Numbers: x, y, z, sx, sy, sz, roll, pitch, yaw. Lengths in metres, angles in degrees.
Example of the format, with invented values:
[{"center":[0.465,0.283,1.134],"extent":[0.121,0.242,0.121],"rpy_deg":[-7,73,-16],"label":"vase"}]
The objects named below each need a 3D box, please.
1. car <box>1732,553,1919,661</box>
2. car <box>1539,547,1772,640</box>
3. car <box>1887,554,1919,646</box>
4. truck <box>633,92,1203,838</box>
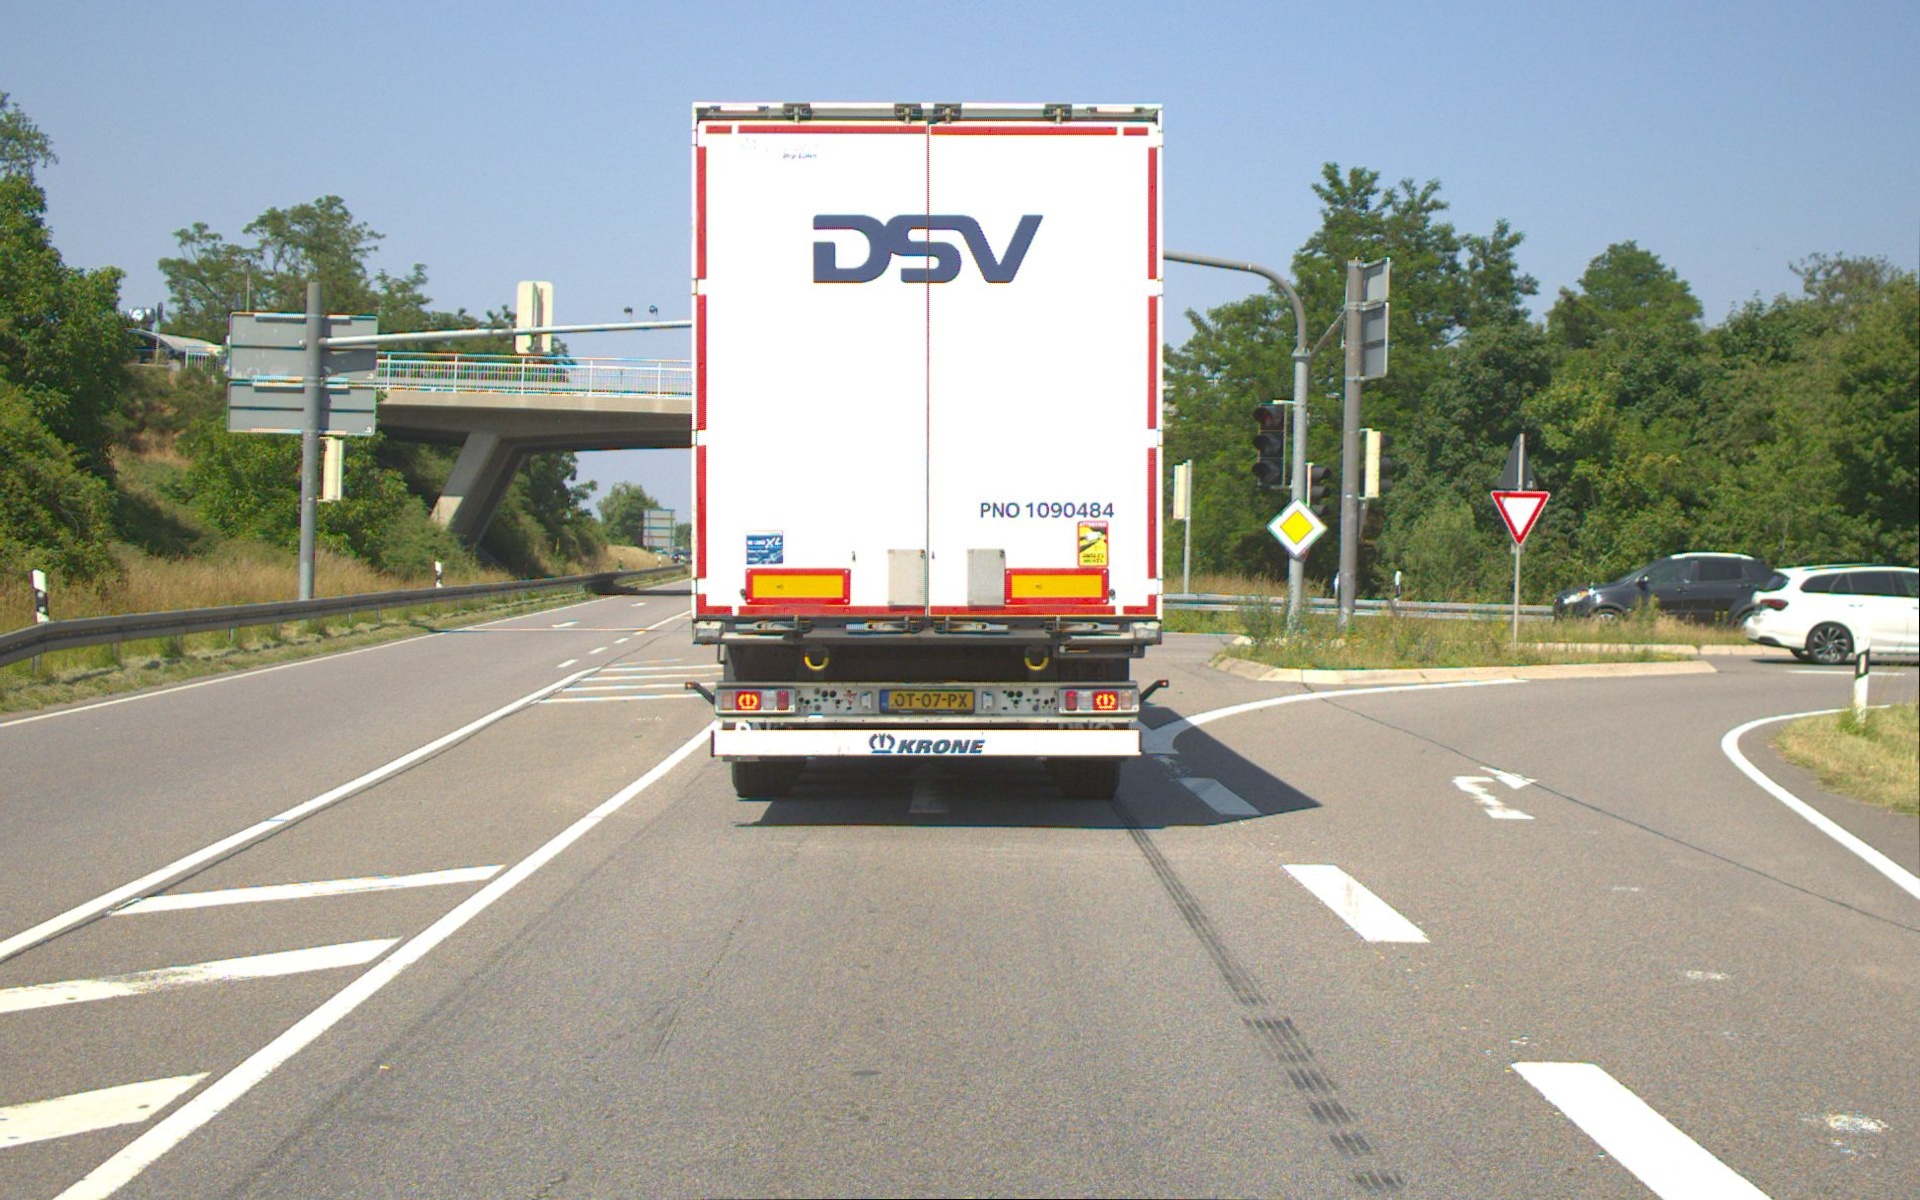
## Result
[{"center":[13.969,0.078,51.463],"extent":[4.469,1.561,1.739],"rpy_deg":[-1,0,4],"label":"car"},{"center":[12.613,-0.126,62.511],"extent":[3.986,1.634,1.840],"rpy_deg":[1,0,6],"label":"car"},{"center":[18.750,0.014,60.387],"extent":[4.486,1.592,1.767],"rpy_deg":[1,0,3],"label":"car"},{"center":[-0.255,-0.760,23.171],"extent":[2.987,3.928,9.876],"rpy_deg":[1,1,0],"label":"truck"}]
